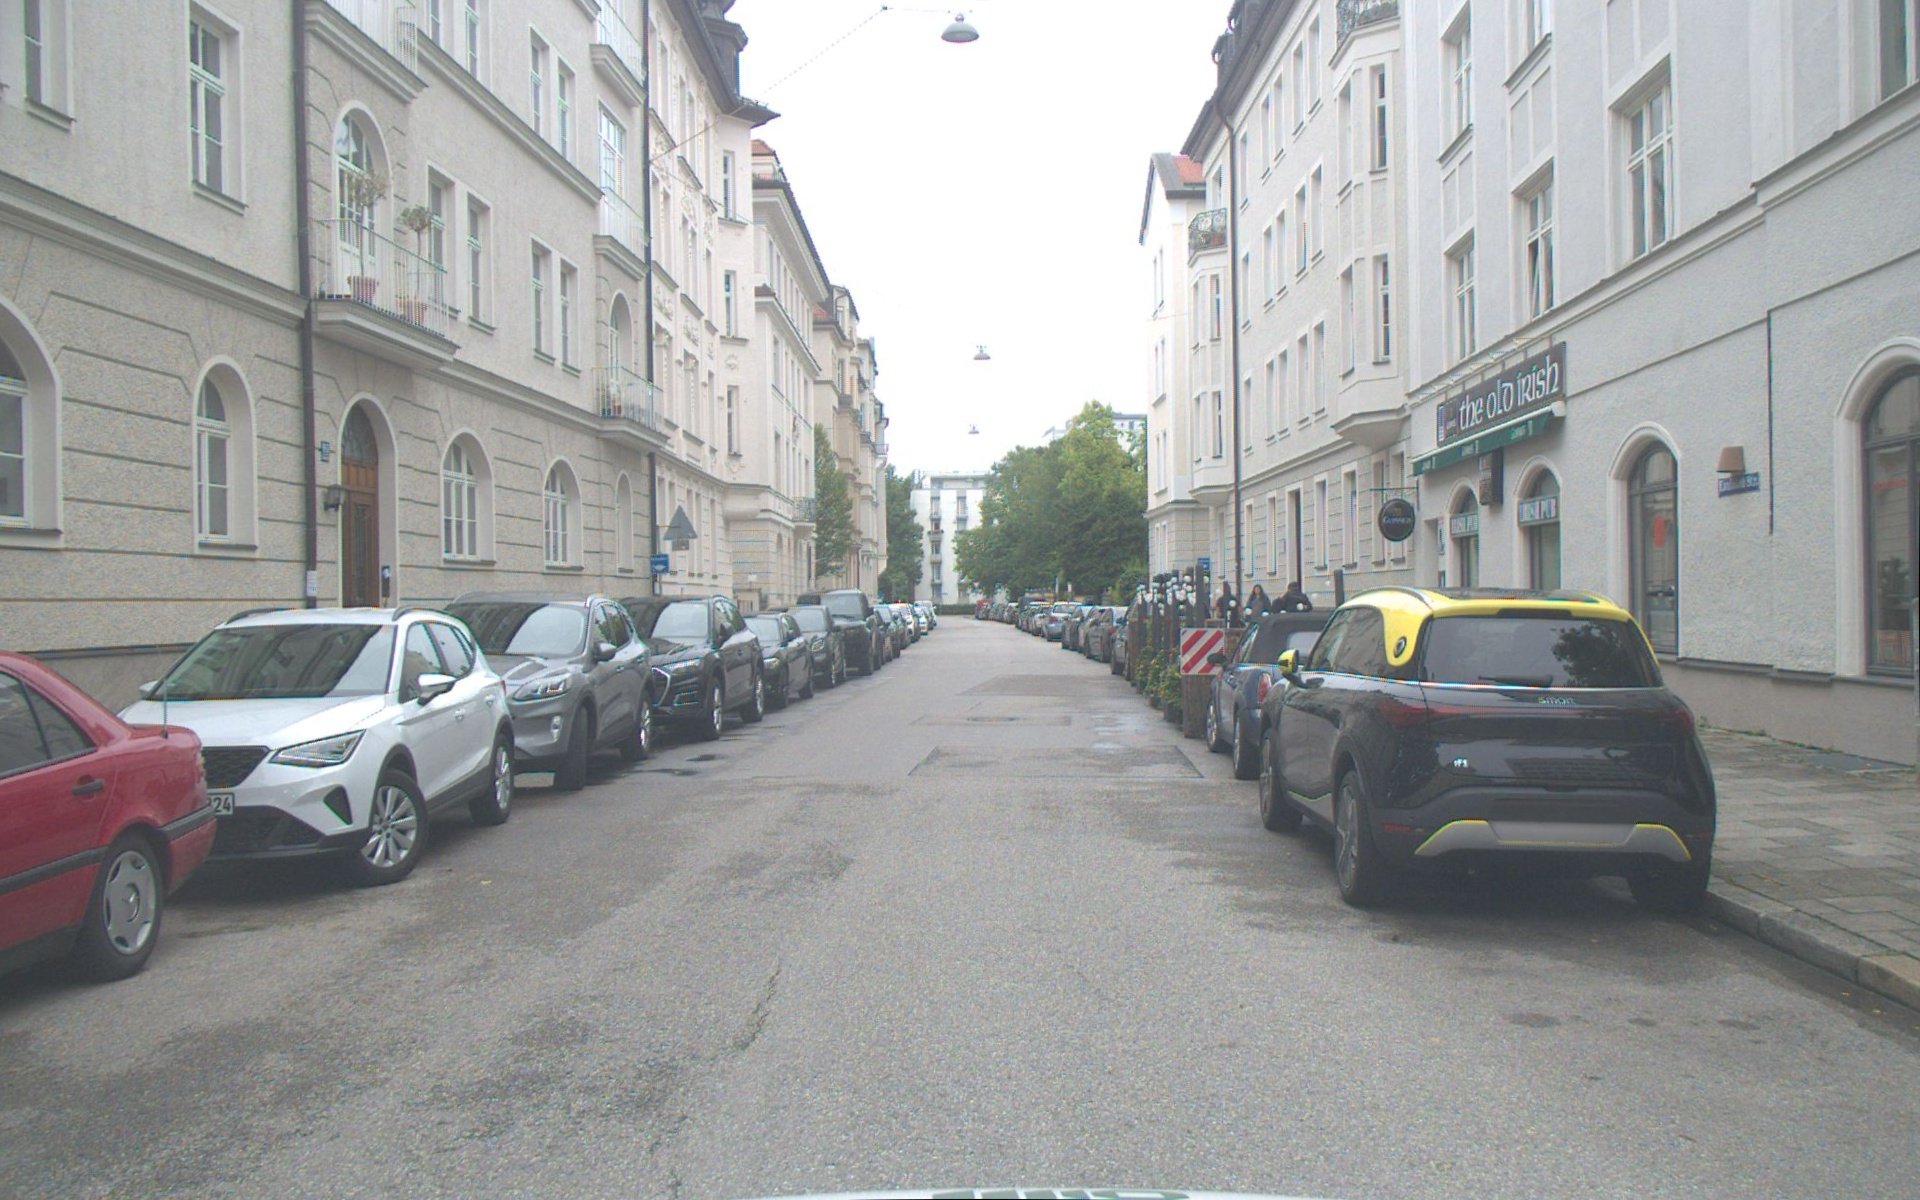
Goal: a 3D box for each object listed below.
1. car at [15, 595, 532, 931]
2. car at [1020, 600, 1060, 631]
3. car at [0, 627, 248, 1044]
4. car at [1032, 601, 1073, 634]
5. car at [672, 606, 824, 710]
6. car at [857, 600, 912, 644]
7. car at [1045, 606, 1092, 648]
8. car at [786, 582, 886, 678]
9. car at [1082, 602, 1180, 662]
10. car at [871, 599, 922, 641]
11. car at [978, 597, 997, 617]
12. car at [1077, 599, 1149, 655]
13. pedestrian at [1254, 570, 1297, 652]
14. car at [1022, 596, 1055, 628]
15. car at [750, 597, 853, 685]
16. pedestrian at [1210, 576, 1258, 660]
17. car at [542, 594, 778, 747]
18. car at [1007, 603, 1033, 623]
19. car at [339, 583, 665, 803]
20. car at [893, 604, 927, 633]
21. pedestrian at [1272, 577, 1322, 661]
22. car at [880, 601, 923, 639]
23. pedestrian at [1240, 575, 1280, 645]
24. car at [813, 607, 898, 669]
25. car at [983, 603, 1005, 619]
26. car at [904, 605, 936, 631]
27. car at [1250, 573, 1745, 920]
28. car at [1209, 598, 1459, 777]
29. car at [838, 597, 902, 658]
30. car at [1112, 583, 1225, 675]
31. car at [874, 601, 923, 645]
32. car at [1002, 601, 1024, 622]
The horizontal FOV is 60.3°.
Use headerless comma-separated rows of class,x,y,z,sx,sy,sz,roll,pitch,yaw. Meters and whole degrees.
car,-3.905,0.798,10.174,1.660,1.595,3.949,-1,1,-3
car,4.392,0.849,91.428,1.715,1.639,4.421,1,0,-3
car,-4.200,0.873,5.579,1.646,1.417,4.478,-2,0,0
car,4.392,0.839,79.103,1.748,1.531,4.065,0,0,0
car,-3.261,0.852,26.137,1.620,1.431,4.093,-2,0,3
car,-2.720,0.791,60.285,1.756,1.440,4.278,-3,0,0
car,4.436,1.076,68.213,1.784,1.596,4.401,2,0,2
car,-2.715,0.615,37.244,1.799,1.927,4.763,-3,0,0
car,4.436,0.803,43.596,1.800,1.424,4.970,1,0,-3
car,-2.659,0.822,70.219,1.875,1.647,4.571,-1,0,1
car,2.886,0.722,173.625,1.798,1.960,4.006,2,0,2
car,4.493,0.777,49.067,1.724,1.511,4.421,2,0,1
pedestrian,8.040,0.269,42.139,0.865,2.049,1.111,-1,0,1
car,4.564,0.718,96.480,1.687,1.800,4.413,2,-1,1
car,-3.010,0.750,31.911,1.583,1.539,3.531,-2,0,0
pedestrian,6.109,0.390,36.936,0.865,1.843,1.111,-1,0,1
car,-3.509,0.765,20.204,1.837,1.627,4.435,-1,0,3
car,4.481,0.979,123.987,1.801,1.438,4.342,0,-1,0
car,-4.006,0.729,15.224,1.799,1.707,4.213,-1,0,0
car,-2.738,1.014,90.933,1.799,1.459,4.243,-3,0,-2
pedestrian,7.446,0.404,36.609,0.865,1.818,1.111,-1,0,1
car,-2.653,0.879,75.567,1.799,1.647,4.244,-1,0,0
pedestrian,8.072,0.273,44.500,0.865,1.845,1.111,-1,0,1
car,-2.665,0.948,43.014,1.798,1.418,4.245,-3,0,1
car,3.328,1.103,162.815,1.802,1.545,3.944,0,-1,-4
car,-2.537,1.144,105.587,1.799,1.460,4.245,-4,0,0
car,2.992,0.706,10.153,1.798,1.647,4.095,2,0,2
car,3.373,0.727,15.499,1.632,1.424,3.493,2,0,2
car,-2.620,0.783,49.037,1.692,1.647,4.120,-3,0,-2
car,4.146,0.539,33.484,1.763,1.704,4.189,-1,0,0
car,-2.447,0.897,65.000,1.747,1.568,4.254,-3,0,-3
car,4.274,0.922,134.117,1.483,1.690,3.672,0,-1,-2
